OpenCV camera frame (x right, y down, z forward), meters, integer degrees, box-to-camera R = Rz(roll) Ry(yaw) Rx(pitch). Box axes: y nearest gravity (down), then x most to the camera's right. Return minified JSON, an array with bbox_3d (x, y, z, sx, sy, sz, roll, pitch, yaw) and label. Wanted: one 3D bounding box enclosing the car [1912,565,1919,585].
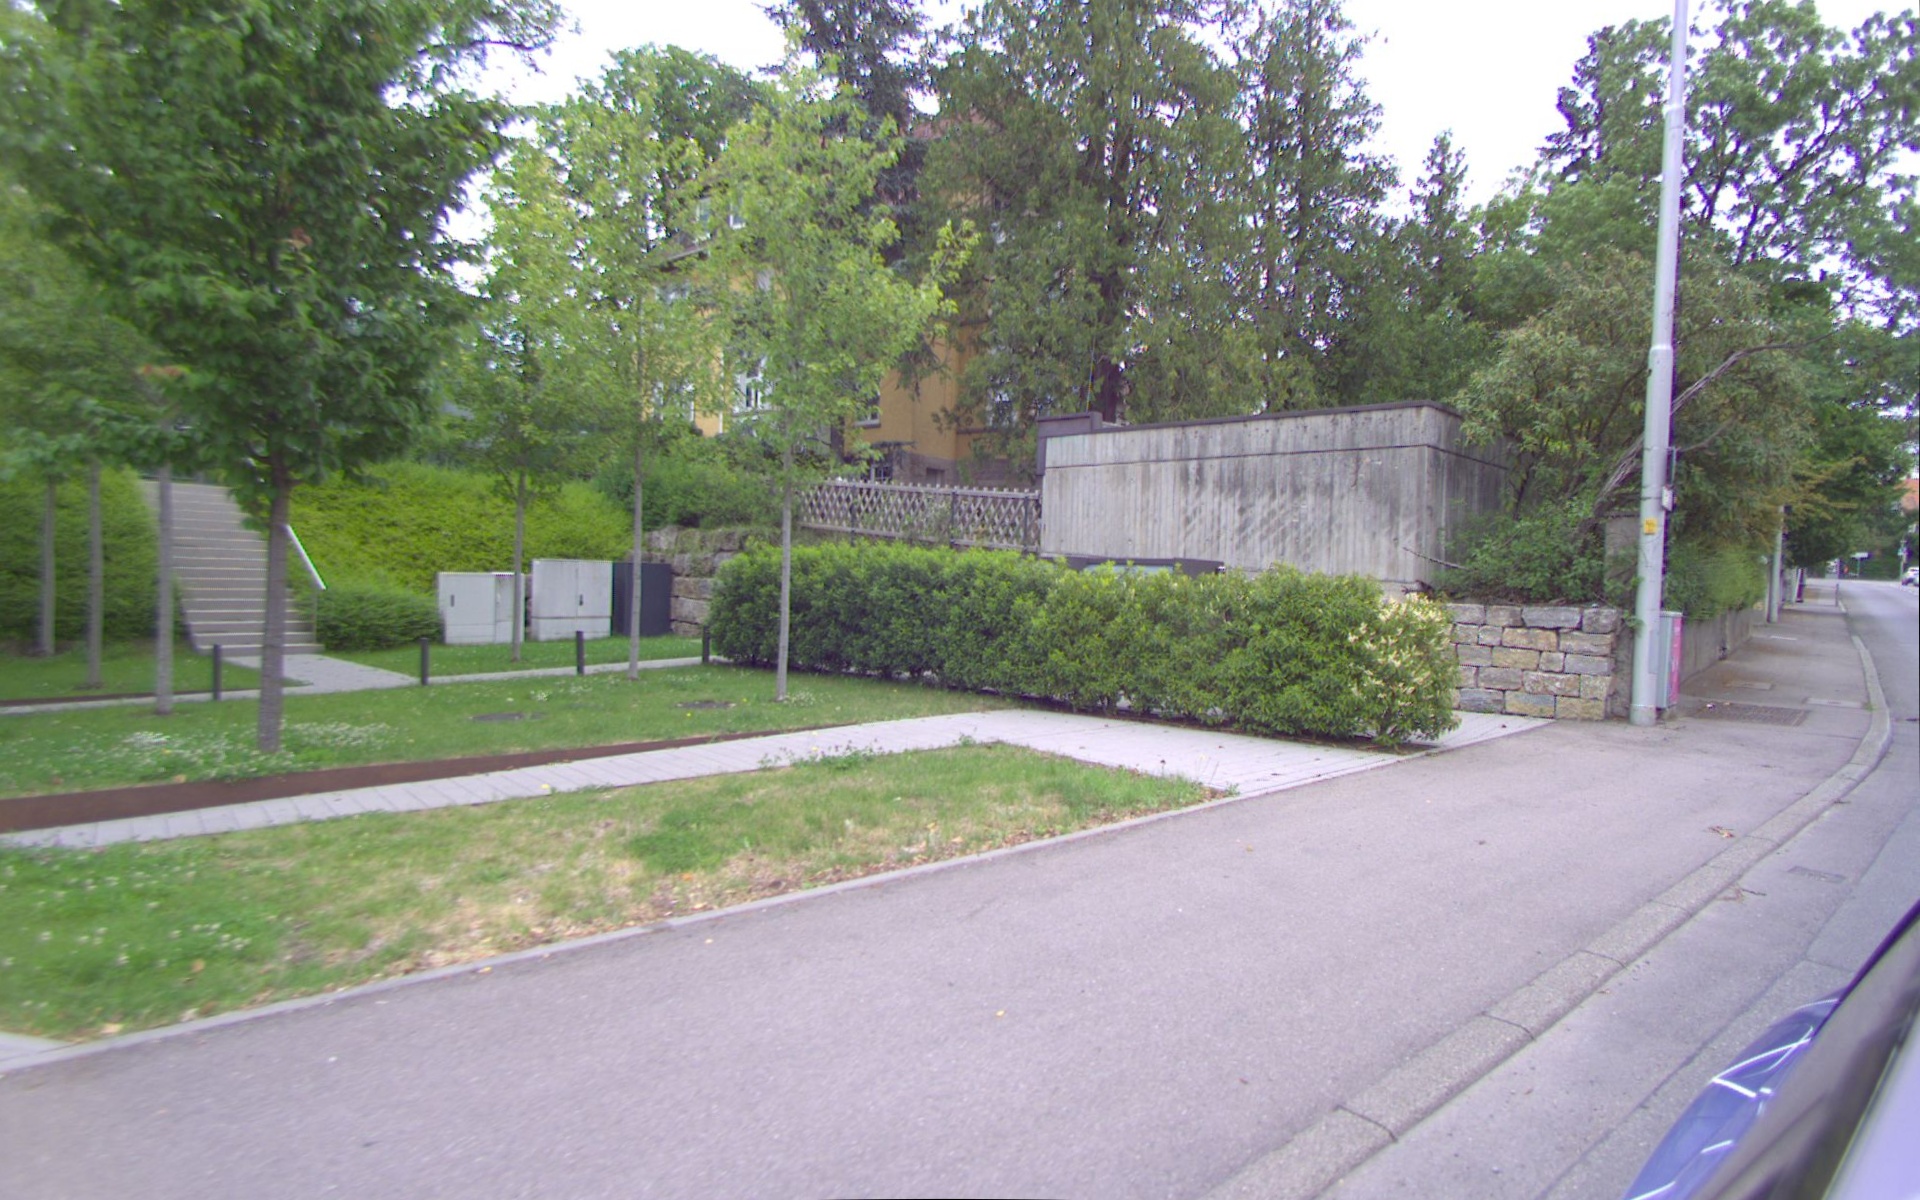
[{"bbox_3d":[85.647,-2.194,89.214,1.989,1.732,3.948,3,3,37],"label":"car"}]
